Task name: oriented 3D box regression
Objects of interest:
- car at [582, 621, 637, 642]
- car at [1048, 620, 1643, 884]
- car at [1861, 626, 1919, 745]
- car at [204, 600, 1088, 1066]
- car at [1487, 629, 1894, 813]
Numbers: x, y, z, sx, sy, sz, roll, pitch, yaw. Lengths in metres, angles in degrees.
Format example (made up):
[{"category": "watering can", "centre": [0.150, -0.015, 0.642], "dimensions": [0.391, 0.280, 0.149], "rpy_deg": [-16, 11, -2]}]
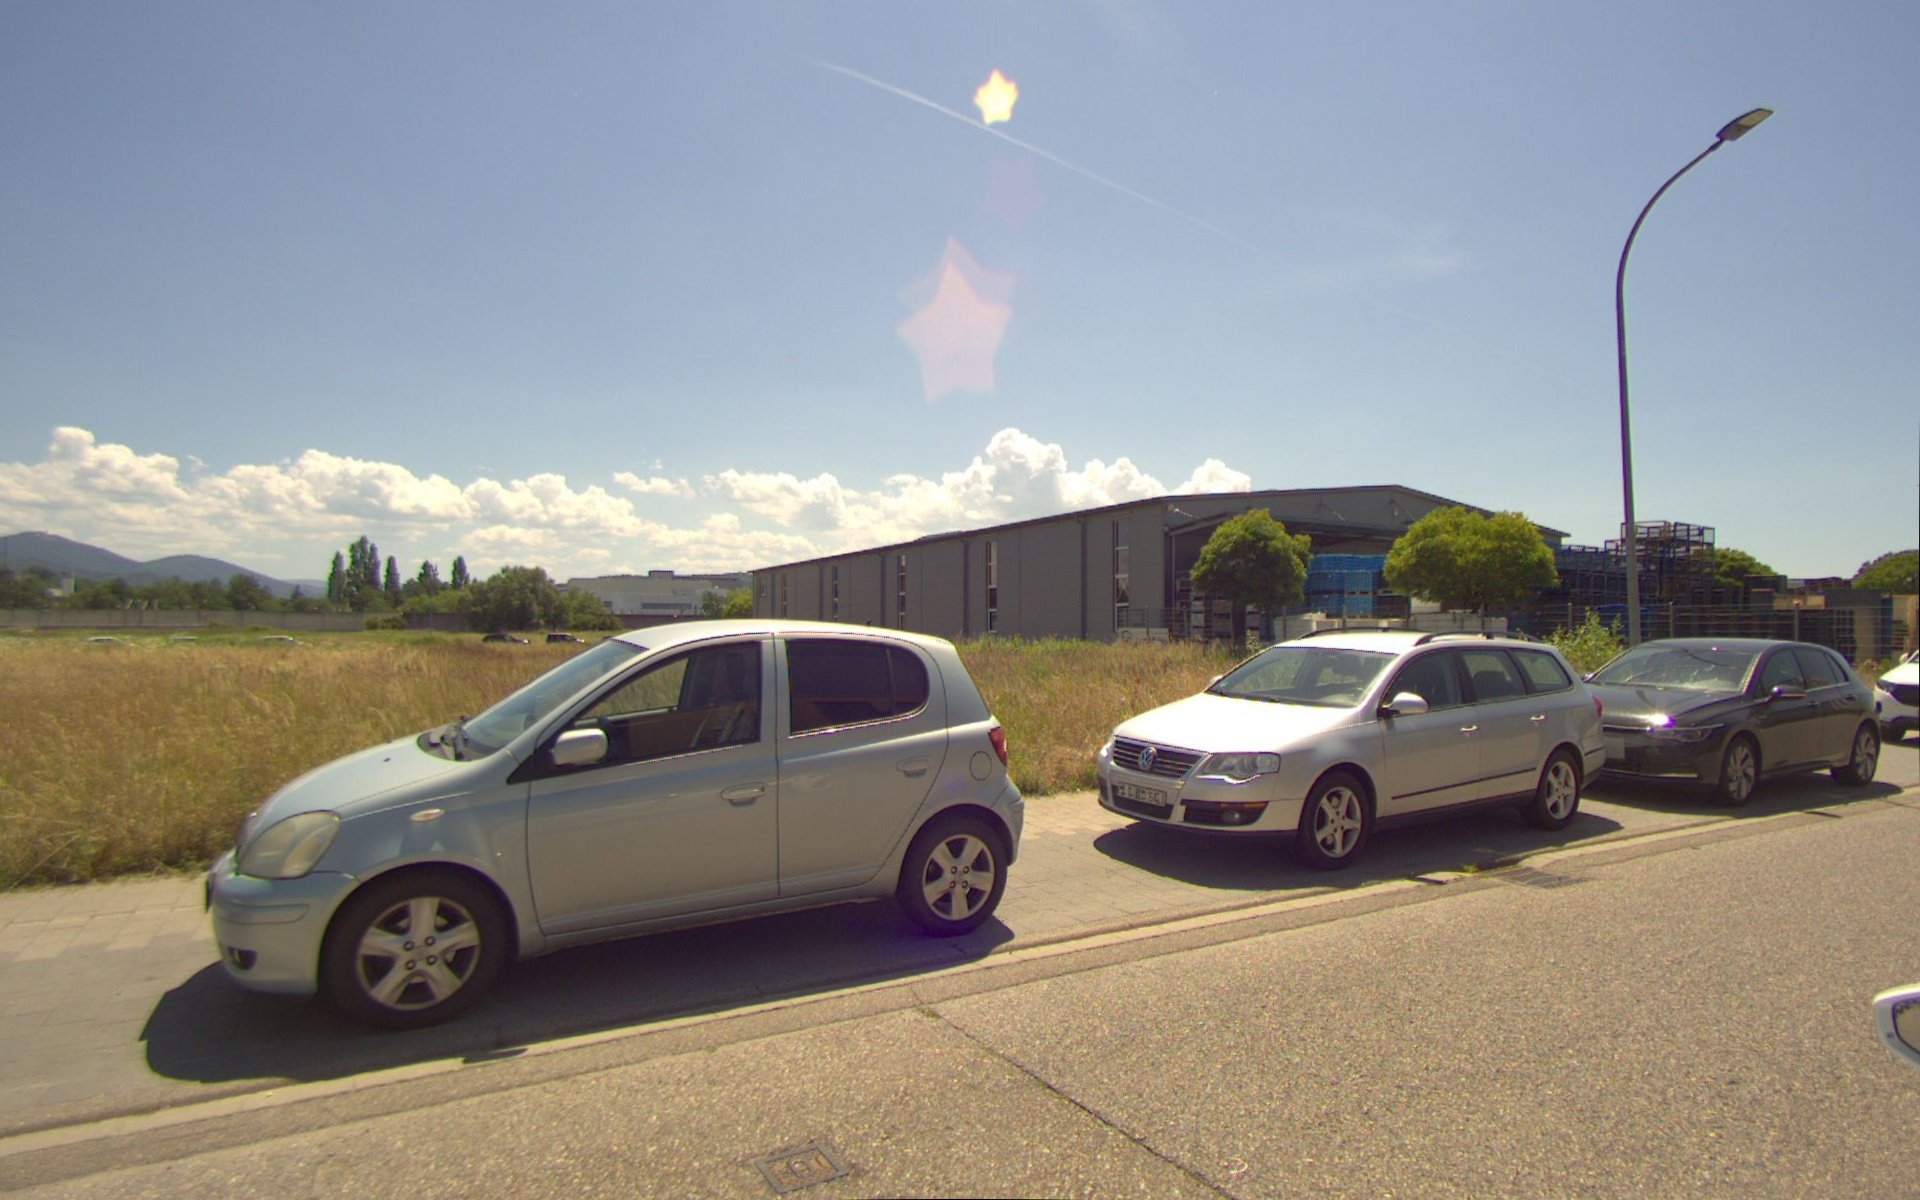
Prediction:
[{"category": "car", "centre": [-34.648, 3.117, 99.431], "dimensions": [4.863, 2.040, 1.984], "rpy_deg": [1, -2, -31]}, {"category": "car", "centre": [3.126, 0.939, 7.783], "dimensions": [4.760, 1.500, 1.766], "rpy_deg": [1, -1, -31]}, {"category": "car", "centre": [15.045, 1.223, 14.584], "dimensions": [4.310, 1.613, 1.760], "rpy_deg": [2, -1, -31]}, {"category": "car", "centre": [-1.340, 0.819, 5.028], "dimensions": [3.692, 1.545, 1.685], "rpy_deg": [1, -1, -31]}, {"category": "car", "centre": [7.514, 1.081, 10.260], "dimensions": [4.179, 1.500, 1.848], "rpy_deg": [1, -1, -30]}]
